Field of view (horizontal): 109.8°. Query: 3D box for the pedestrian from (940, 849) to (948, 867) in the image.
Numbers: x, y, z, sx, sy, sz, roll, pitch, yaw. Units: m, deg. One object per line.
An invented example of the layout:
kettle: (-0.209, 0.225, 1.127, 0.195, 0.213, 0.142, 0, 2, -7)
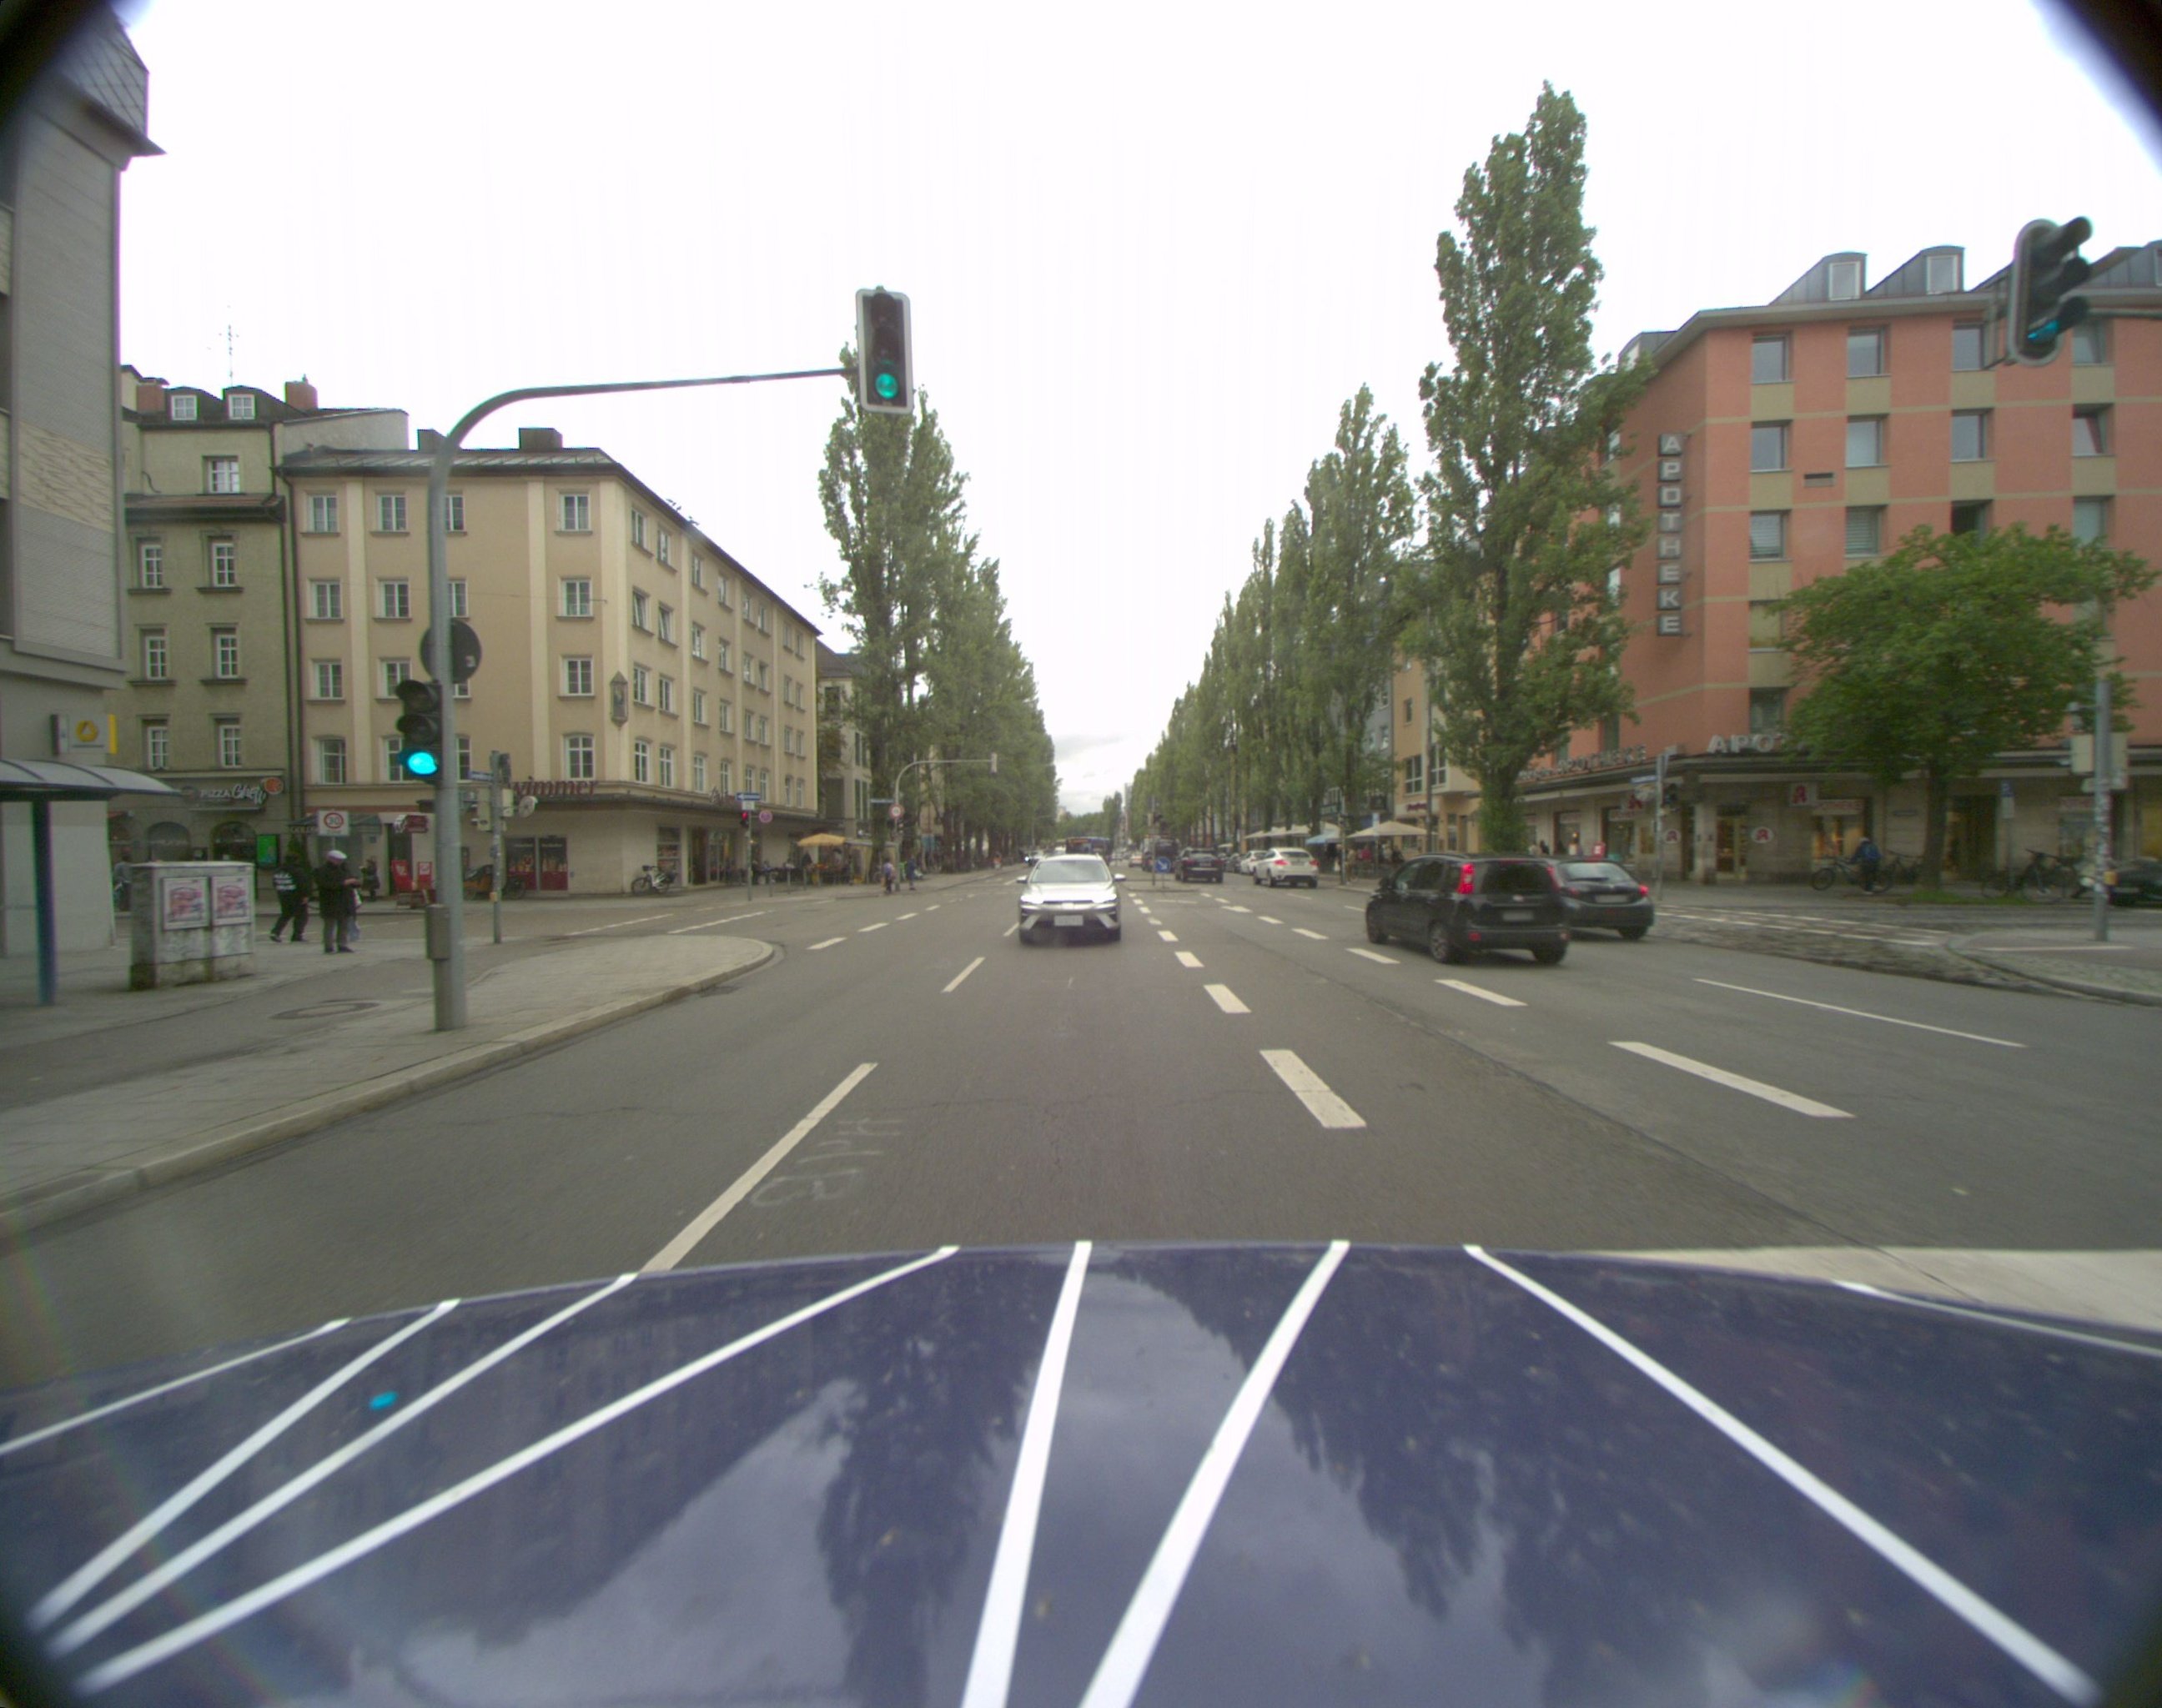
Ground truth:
pedestrian: (-13.281, 0.390, 73.780, 0.658, 1.774, 0.674, -1, 1, 2)

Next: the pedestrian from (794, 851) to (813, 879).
pedestrian: (-15.893, 0.651, 43.568, 0.777, 1.580, 0.699, -1, 1, 1)

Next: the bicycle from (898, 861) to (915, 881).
bicycle: (-9.463, 0.927, 41.273, 0.510, 1.042, 1.770, -1, 1, -2)

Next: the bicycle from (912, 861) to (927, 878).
bicycle: (-9.535, 0.920, 44.944, 0.510, 0.970, 1.770, -1, 1, -1)

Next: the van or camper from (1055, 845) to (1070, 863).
van or camper: (-2.889, 0.065, 120.382, 1.998, 2.469, 6.647, -2, -2, 1)

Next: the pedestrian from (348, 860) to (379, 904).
pedestrian: (-25.803, 0.995, 27.327, 0.584, 1.549, 0.445, -2, 1, 1)

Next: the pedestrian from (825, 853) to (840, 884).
pedestrian: (-13.346, 0.759, 40.852, 0.541, 1.664, 0.537, -1, 1, 7)

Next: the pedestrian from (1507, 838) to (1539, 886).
pedestrian: (16.488, 0.309, 28.366, 0.726, 1.761, 0.778, -1, 1, 1)

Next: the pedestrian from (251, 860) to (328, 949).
pedestrian: (-16.052, 1.003, 15.418, 0.752, 1.748, 0.711, -1, 1, 2)

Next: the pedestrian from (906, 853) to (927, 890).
pedestrian: (-7.404, 0.777, 34.238, 0.767, 1.600, 0.864, -1, 1, -4)

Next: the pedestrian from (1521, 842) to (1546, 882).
pedestrian: (18.244, 0.319, 30.634, 0.658, 1.574, 0.548, -1, 1, 2)

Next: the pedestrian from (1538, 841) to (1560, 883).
pedestrian: (19.083, 0.326, 31.009, 0.508, 1.661, 0.626, -1, 1, 2)

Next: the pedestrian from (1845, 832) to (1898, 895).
pedestrian: (22.584, 0.259, 21.716, 0.780, 1.756, 0.692, -1, 1, 0)

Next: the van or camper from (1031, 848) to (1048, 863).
van or camper: (-5.248, 0.158, 95.922, 1.795, 1.894, 4.565, -1, 0, 1)

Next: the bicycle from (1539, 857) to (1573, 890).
bicycle: (17.339, 0.697, 27.748, 0.422, 1.135, 1.373, -1, 1, 1)

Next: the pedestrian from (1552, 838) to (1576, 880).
pedestrian: (19.720, 0.210, 31.005, 0.631, 1.679, 0.519, -2, 1, 1)

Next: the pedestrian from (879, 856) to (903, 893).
pedestrian: (-7.947, 0.843, 31.816, 0.766, 1.509, 0.620, 2, 4, 44)

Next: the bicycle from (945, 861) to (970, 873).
bicycle: (-10.040, 1.024, 61.988, 2.005, 0.940, 0.286, -1, 1, -8)

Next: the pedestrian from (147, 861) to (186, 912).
pedestrian: (-30.036, 1.064, 24.960, 0.444, 1.635, 0.584, -2, 1, 9)

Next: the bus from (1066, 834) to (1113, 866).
bus: (0.999, -0.444, 75.735, 2.804, 2.886, 12.866, -1, 0, 9)

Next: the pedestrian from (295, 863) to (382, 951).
pedestrian: (-15.268, 1.063, 15.660, 0.752, 1.748, 1.017, -1, 1, 2)

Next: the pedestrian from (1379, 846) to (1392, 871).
pedestrian: (19.753, 0.283, 49.237, 0.556, 1.629, 0.692, -1, 1, 0)

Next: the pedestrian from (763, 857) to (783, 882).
pedestrian: (-16.445, 0.826, 40.576, 0.777, 1.257, 0.699, -1, 1, 1)

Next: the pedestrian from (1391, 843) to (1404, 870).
pedestrian: (20.485, 0.176, 49.145, 0.556, 1.708, 0.692, -1, 1, 0)

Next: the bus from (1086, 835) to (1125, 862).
bus: (2.973, -0.610, 87.870, 2.804, 2.886, 12.866, -1, 0, 9)

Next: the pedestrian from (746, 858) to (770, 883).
pedestrian: (-16.456, 0.854, 38.738, 0.870, 1.192, 0.699, 3, 1, 1)

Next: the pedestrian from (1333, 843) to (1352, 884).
pedestrian: (11.577, 0.403, 33.625, 0.736, 1.785, 0.994, -2, 1, 18)

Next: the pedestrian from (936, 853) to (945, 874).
pedestrian: (-13.029, 0.852, 70.604, 0.658, 1.960, 0.722, 0, 1, 3)

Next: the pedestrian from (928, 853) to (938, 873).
pedestrian: (-13.730, 0.815, 70.534, 0.658, 1.840, 0.906, -1, 1, 2)

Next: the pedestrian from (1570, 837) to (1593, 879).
pedestrian: (20.404, 0.166, 30.958, 0.588, 1.681, 0.514, -1, 1, 0)

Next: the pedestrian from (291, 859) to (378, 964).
pedestrian: (-12.929, 0.972, 13.178, 0.710, 1.748, 0.752, -1, 1, 2)

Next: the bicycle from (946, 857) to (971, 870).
bicycle: (-9.955, 0.757, 61.685, 2.005, 1.077, 0.286, -1, 1, -9)
